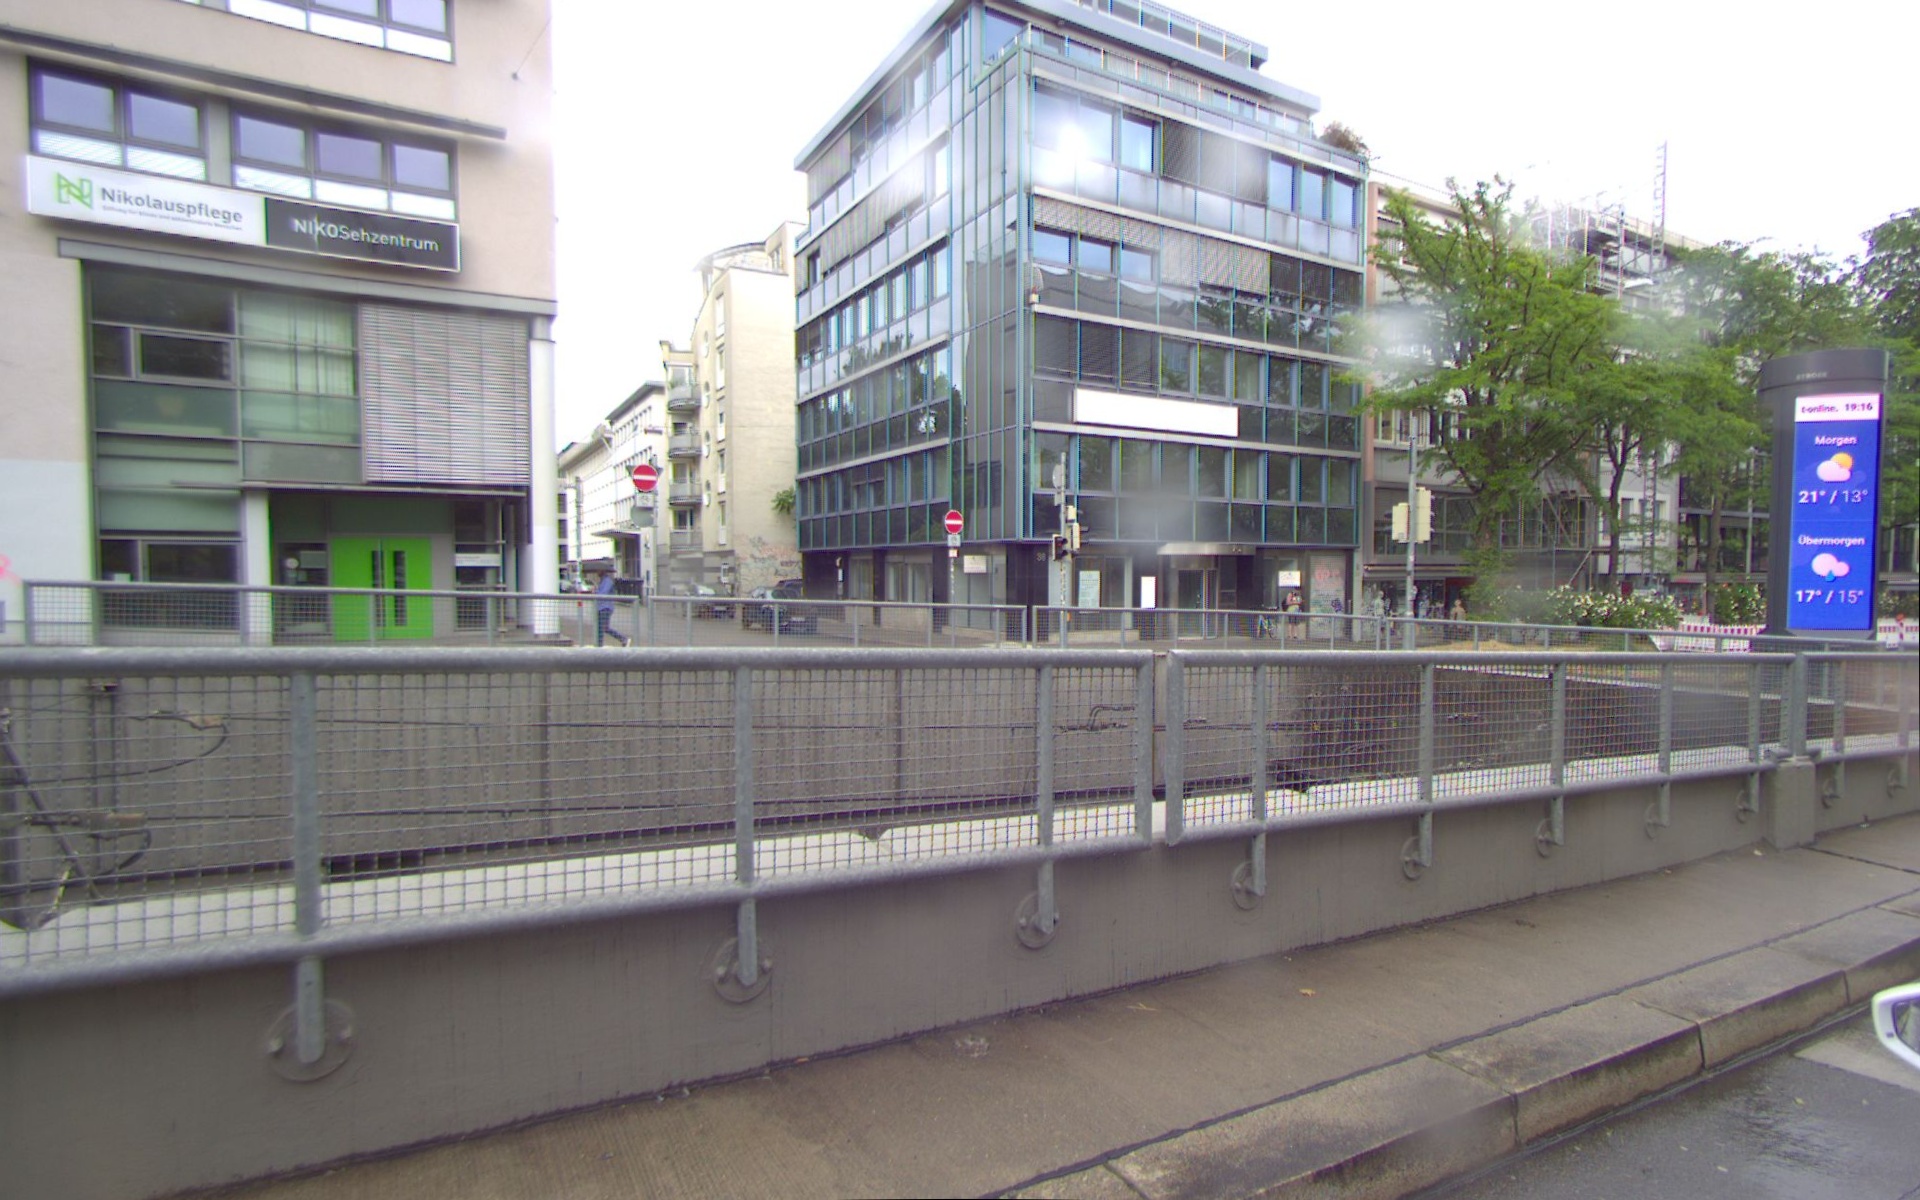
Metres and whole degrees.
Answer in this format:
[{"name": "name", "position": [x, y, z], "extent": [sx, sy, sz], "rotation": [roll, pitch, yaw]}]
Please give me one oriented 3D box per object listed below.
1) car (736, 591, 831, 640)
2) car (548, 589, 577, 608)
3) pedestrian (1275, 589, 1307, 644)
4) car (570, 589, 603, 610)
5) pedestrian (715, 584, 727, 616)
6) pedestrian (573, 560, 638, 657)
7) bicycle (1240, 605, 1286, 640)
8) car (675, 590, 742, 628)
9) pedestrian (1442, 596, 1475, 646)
[{"name": "car", "position": [-6.238, 0.498, 35.173], "extent": [1.977, 1.578, 3.966], "rotation": [1, 0, -31]}, {"name": "car", "position": [-34.695, -0.168, 87.692], "extent": [1.777, 1.578, 3.967], "rotation": [1, 0, -30]}, {"name": "pedestrian", "position": [10.951, 0.548, 33.233], "extent": [0.688, 1.765, 0.691], "rotation": [1, 2, -35]}, {"name": "car", "position": [-29.321, -0.043, 78.836], "extent": [1.777, 1.578, 3.967], "rotation": [1, 0, -30]}, {"name": "pedestrian", "position": [-12.549, -0.023, 52.750], "extent": [0.443, 1.664, 0.326], "rotation": [1, 2, -35]}, {"name": "pedestrian", "position": [-7.019, 0.159, 19.880], "extent": [1.047, 1.863, 0.853], "rotation": [1, 2, -30]}, {"name": "bicycle", "position": [9.872, 0.740, 32.724], "extent": [1.544, 1.100, 0.444], "rotation": [1, 1, -27]}, {"name": "car", "position": [-11.103, 0.356, 44.111], "extent": [1.777, 1.578, 3.966], "rotation": [1, 0, -31]}, {"name": "pedestrian", "position": [18.218, 0.764, 36.715], "extent": [0.867, 1.765, 0.689], "rotation": [1, 2, -32]}]
